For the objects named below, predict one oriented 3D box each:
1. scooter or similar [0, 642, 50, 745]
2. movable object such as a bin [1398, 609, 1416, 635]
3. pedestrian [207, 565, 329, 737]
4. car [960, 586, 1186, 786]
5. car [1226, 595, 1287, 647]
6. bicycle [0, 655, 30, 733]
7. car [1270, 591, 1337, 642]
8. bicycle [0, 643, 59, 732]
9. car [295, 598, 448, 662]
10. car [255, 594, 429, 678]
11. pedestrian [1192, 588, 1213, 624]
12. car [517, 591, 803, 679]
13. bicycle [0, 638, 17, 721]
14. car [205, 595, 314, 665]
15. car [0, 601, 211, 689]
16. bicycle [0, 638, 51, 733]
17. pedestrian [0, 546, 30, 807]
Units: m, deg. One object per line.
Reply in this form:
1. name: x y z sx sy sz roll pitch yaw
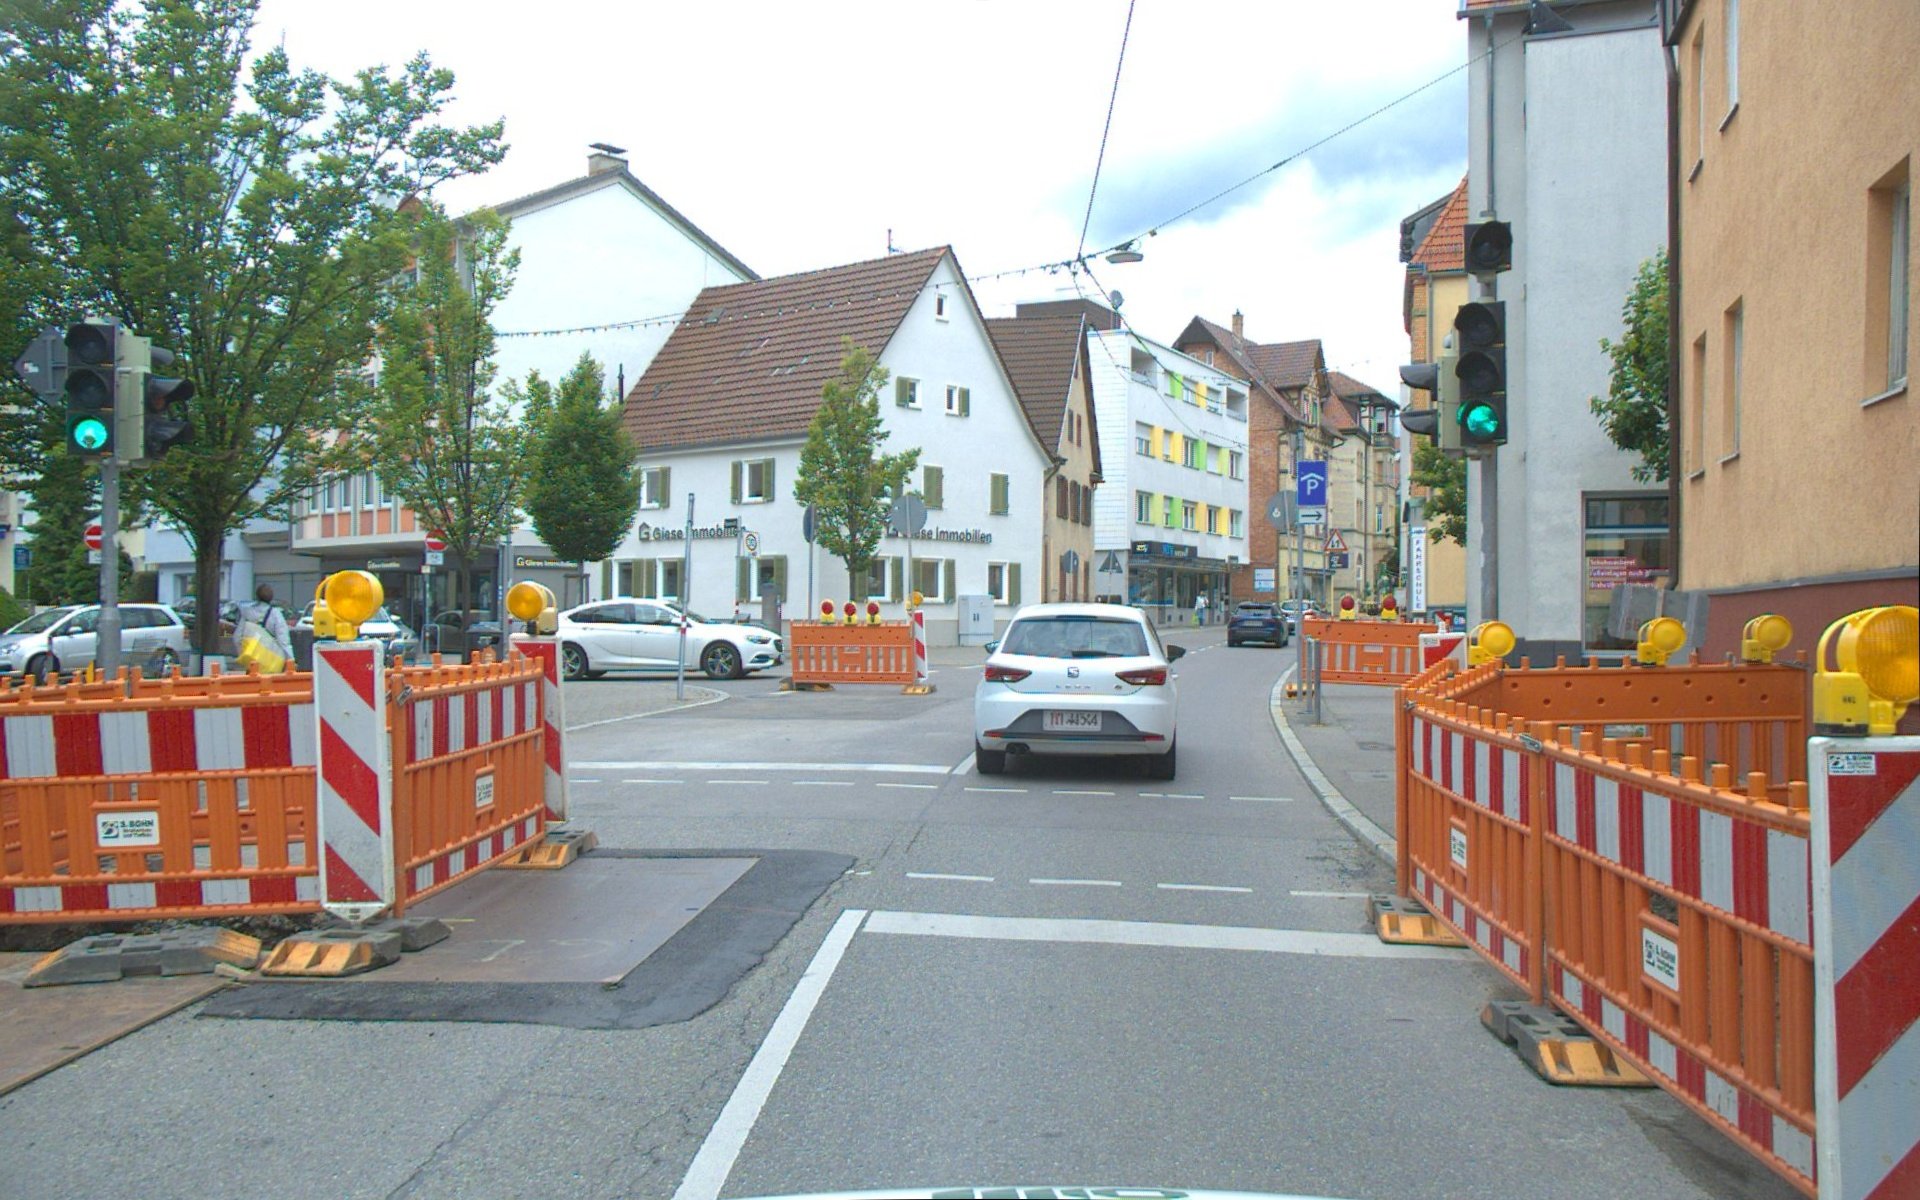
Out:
1. scooter or similar: -11.200 1.069 18.680 0.587 1.143 1.522 0 0 44
2. movable object such as a bin: 16.152 0.803 59.773 0.606 0.937 0.581 0 0 19
3. pedestrian: -6.739 0.483 16.126 0.667 1.620 0.879 -1 0 23
4. car: 1.136 0.667 15.162 1.773 1.506 3.874 1 1 7
5. car: 9.503 0.642 52.846 1.773 1.506 3.874 0 1 12
6. bicycle: -12.172 1.209 19.854 0.488 0.898 1.619 -1 5 44
7. car: 14.408 0.654 69.279 1.953 2.049 3.998 0 0 24
8. bicycle: -12.489 1.131 20.549 0.738 1.064 2.137 -1 2 44
9. car: -16.194 0.777 45.388 4.834 1.584 2.008 1 1 44
10. car: -13.166 0.704 35.063 2.002 1.584 4.849 0 0 -39
11. pedestrian: 11.356 0.289 77.437 0.873 1.694 0.862 0 0 12
12. car: -5.460 0.621 30.607 4.800 1.502 2.250 1 0 2
13. bicycle: -13.595 1.095 21.739 1.946 1.093 0.798 -3 1 -44
14. car: -17.562 0.708 41.349 1.993 1.584 4.871 1 0 -29
15. car: -18.117 0.879 34.424 1.956 1.668 4.321 -1 0 29
16. bicycle: -11.667 1.053 19.297 0.522 1.064 1.734 -1 3 44
17. pedestrian: -7.604 0.572 12.621 0.804 1.959 0.779 0 0 -24
